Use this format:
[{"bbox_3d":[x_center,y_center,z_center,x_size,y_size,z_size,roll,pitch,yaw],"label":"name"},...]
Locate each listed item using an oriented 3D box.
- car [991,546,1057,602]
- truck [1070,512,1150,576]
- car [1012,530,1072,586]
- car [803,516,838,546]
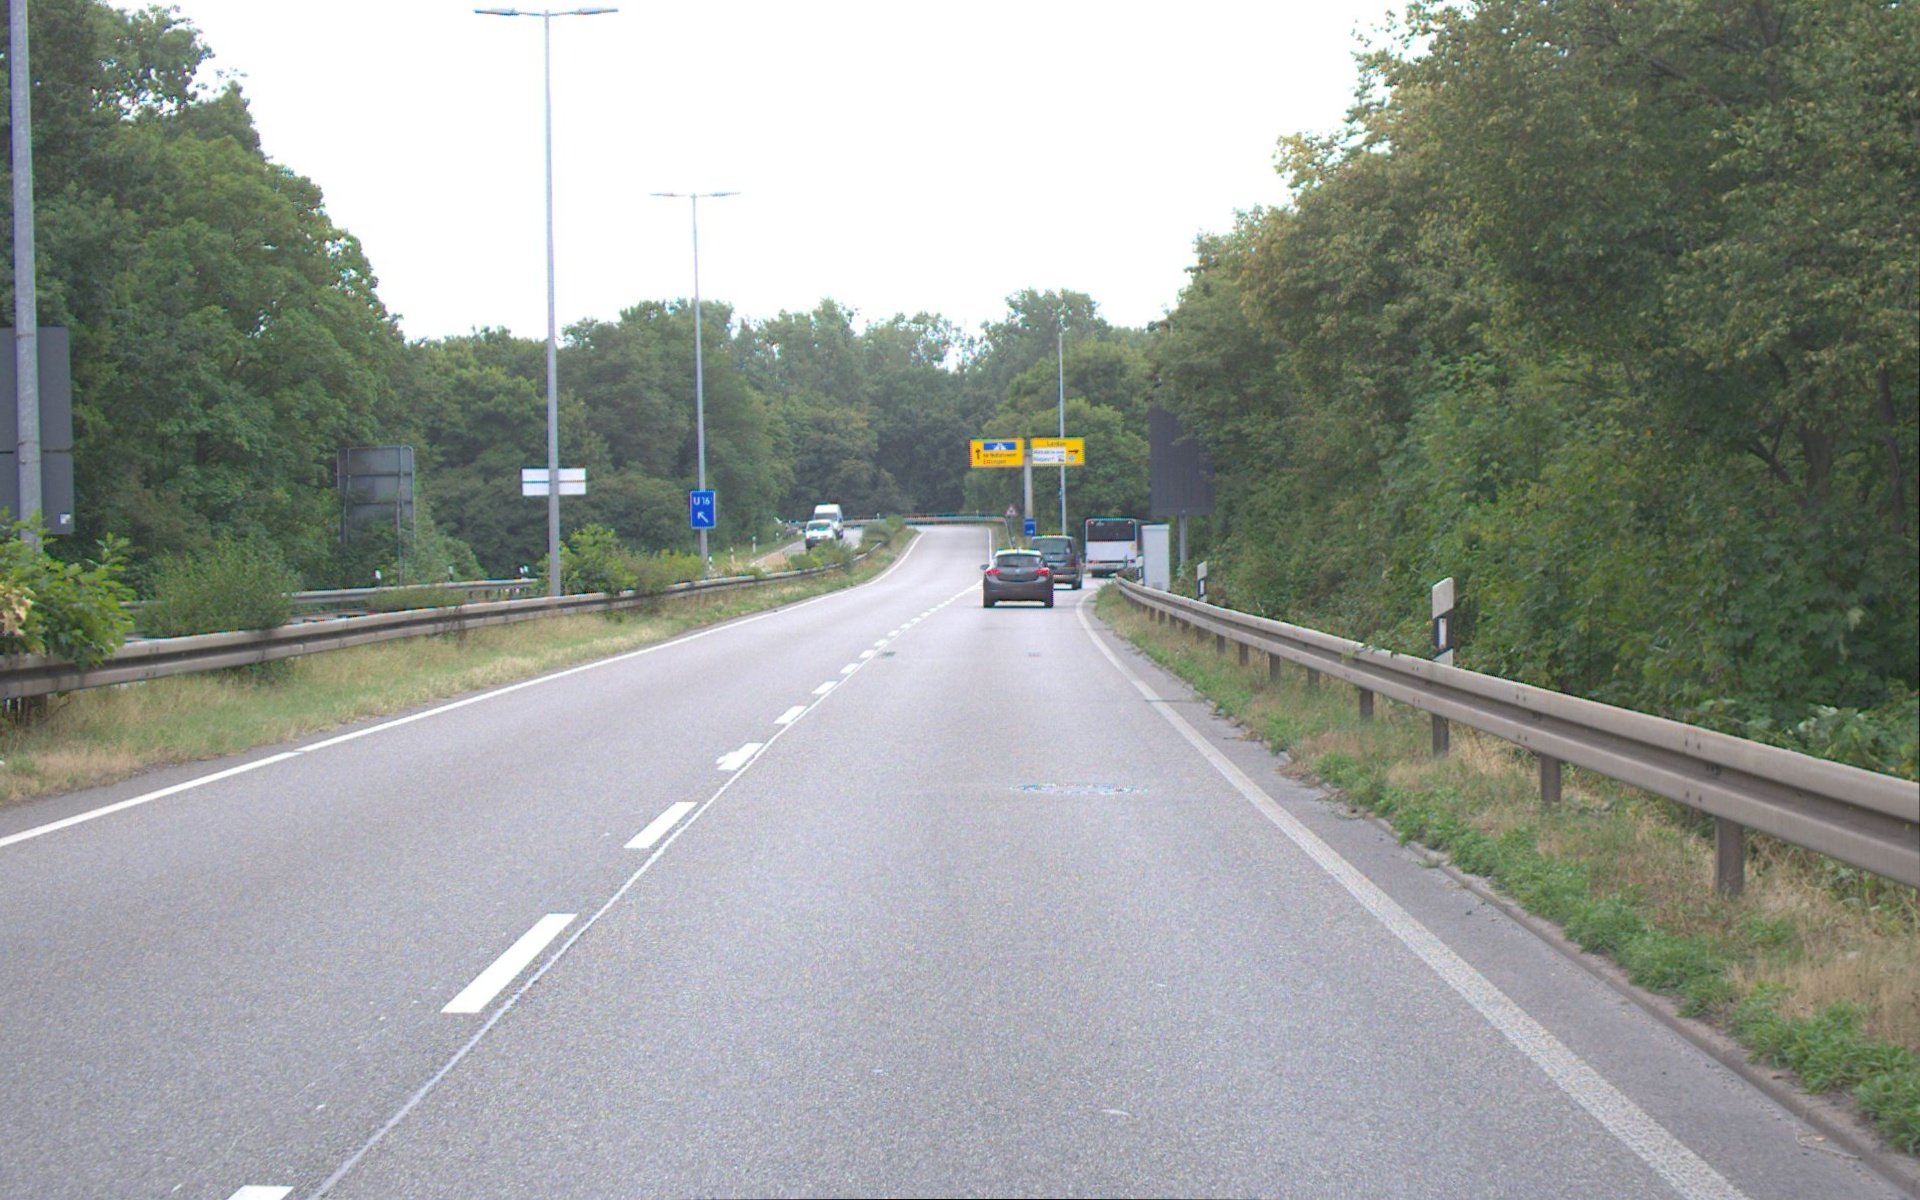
[{"bbox_3d":[1.666,-0.656,88.507,1.625,1.373,4.000,-1,0,2],"label":"car"},{"bbox_3d":[7.217,-2.650,164.454,2.981,2.875,7.988,-1,0,8],"label":"truck"},{"bbox_3d":[3.052,-1.532,126.863,2.148,2.007,4.000,-1,0,2],"label":"car"},{"bbox_3d":[-9.148,-4.544,226.424,1.993,1.840,4.000,-1,2,2],"label":"car"}]
